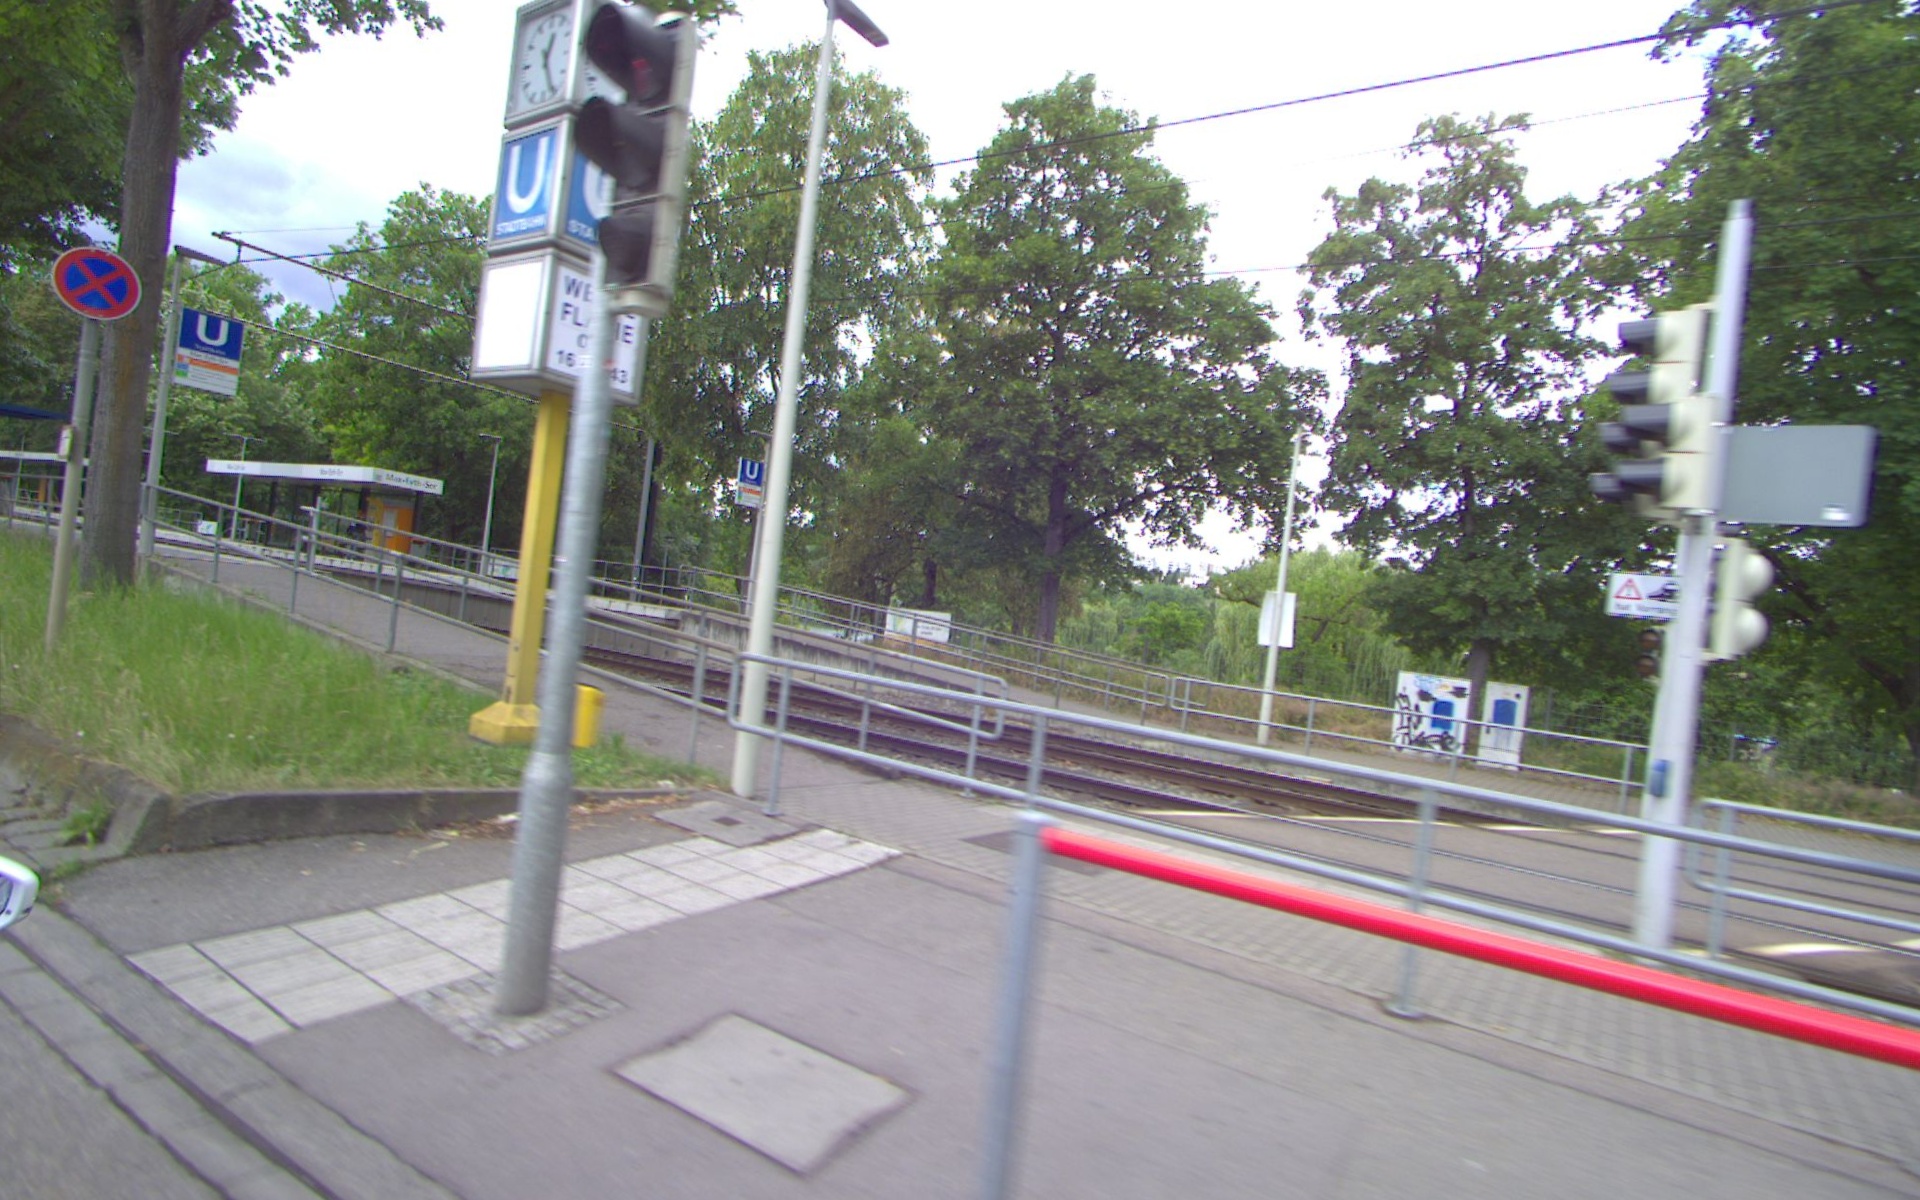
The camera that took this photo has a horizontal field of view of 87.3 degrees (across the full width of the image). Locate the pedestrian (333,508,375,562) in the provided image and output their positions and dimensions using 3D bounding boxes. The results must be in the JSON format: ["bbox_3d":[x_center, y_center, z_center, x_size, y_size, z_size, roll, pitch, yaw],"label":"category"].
[{"bbox_3d":[-18.406,-1.975,30.551,0.713,1.528,0.719,6,-3,37],"label":"pedestrian"}]
